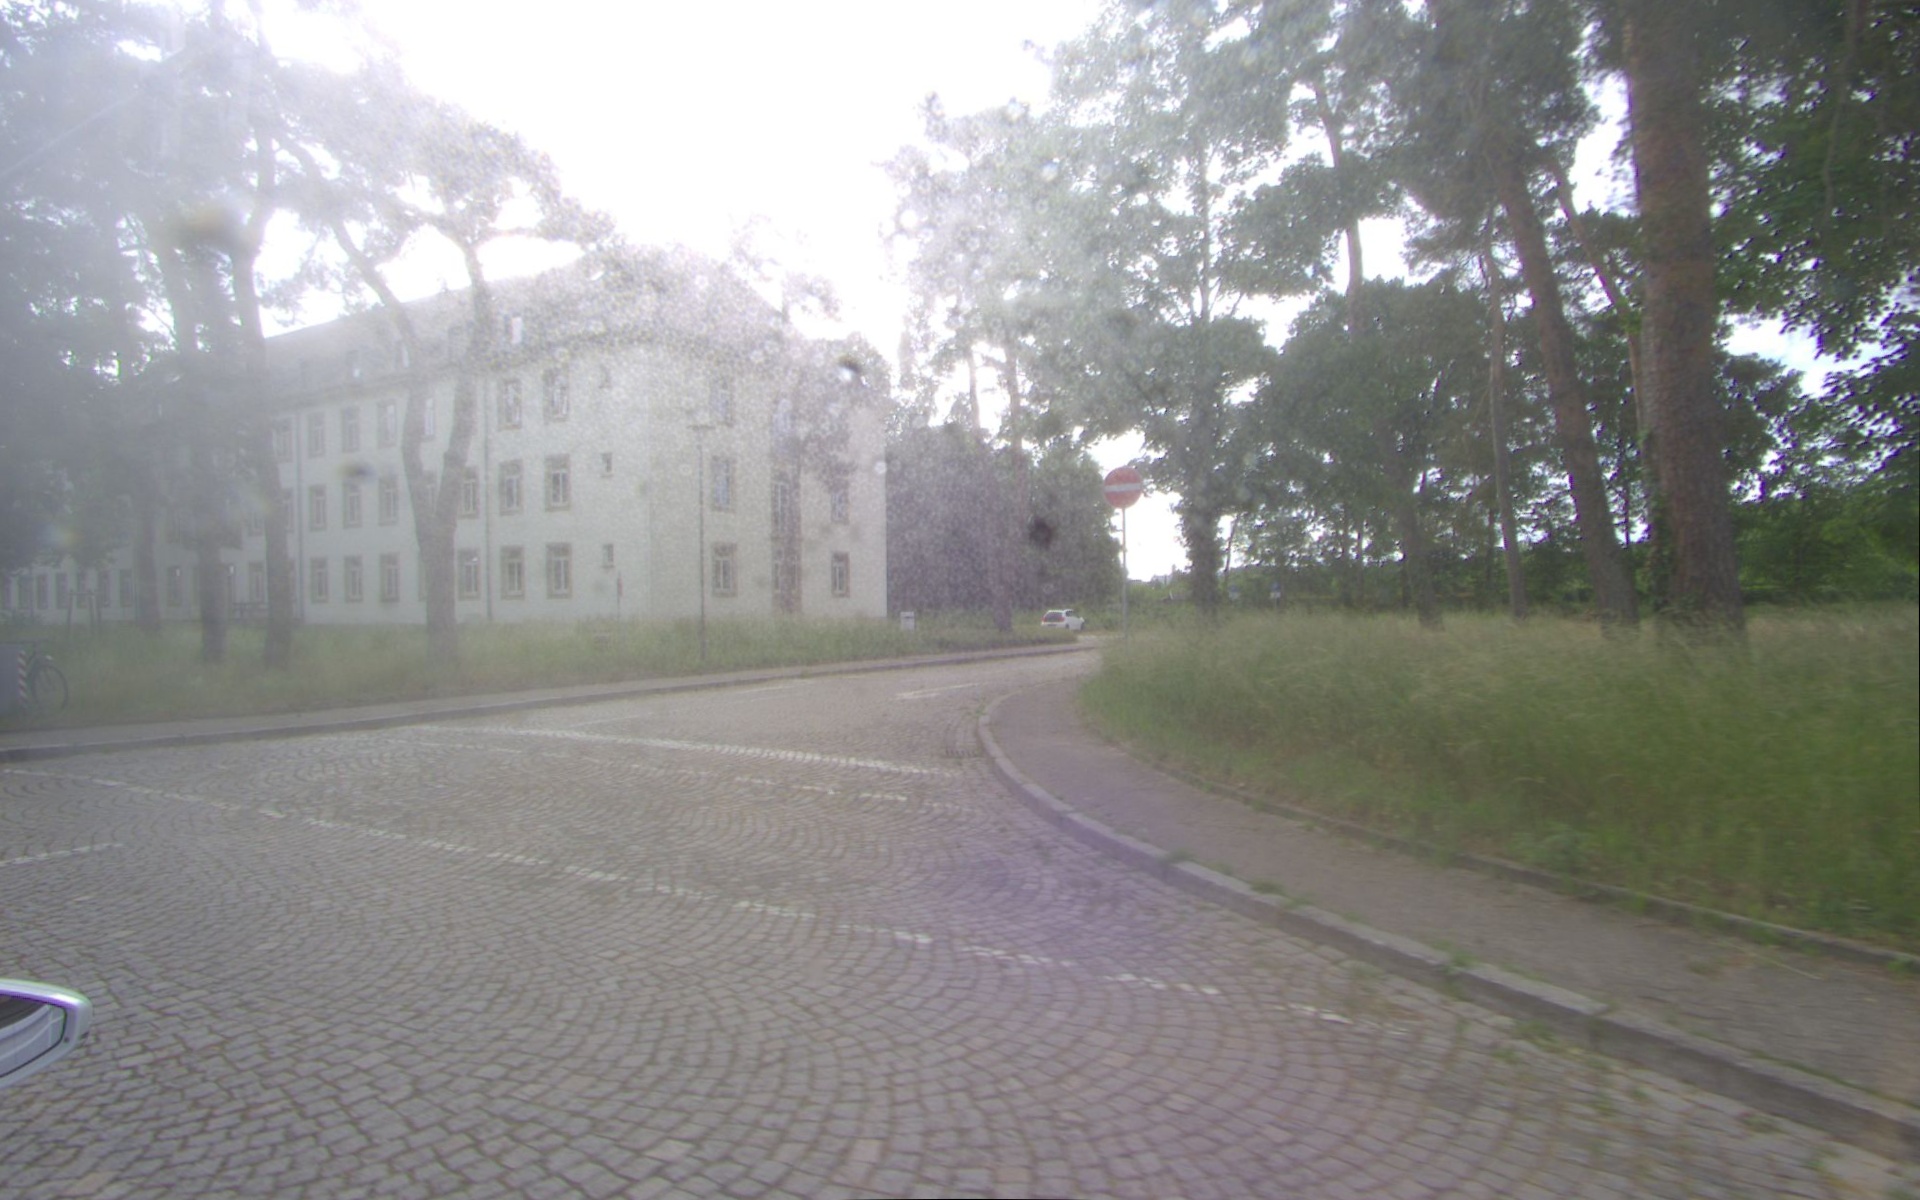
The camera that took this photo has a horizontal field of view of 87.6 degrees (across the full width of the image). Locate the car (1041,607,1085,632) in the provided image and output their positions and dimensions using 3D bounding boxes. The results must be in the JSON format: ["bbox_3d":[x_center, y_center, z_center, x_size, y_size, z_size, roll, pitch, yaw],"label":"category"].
[{"bbox_3d":[6.241,1.189,60.446,1.466,1.455,3.181,-1,-1,30],"label":"car"}]

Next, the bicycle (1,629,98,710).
[{"bbox_3d":[-12.719,0.938,13.979,1.654,0.984,0.579,2,3,33],"label":"bicycle"}]
